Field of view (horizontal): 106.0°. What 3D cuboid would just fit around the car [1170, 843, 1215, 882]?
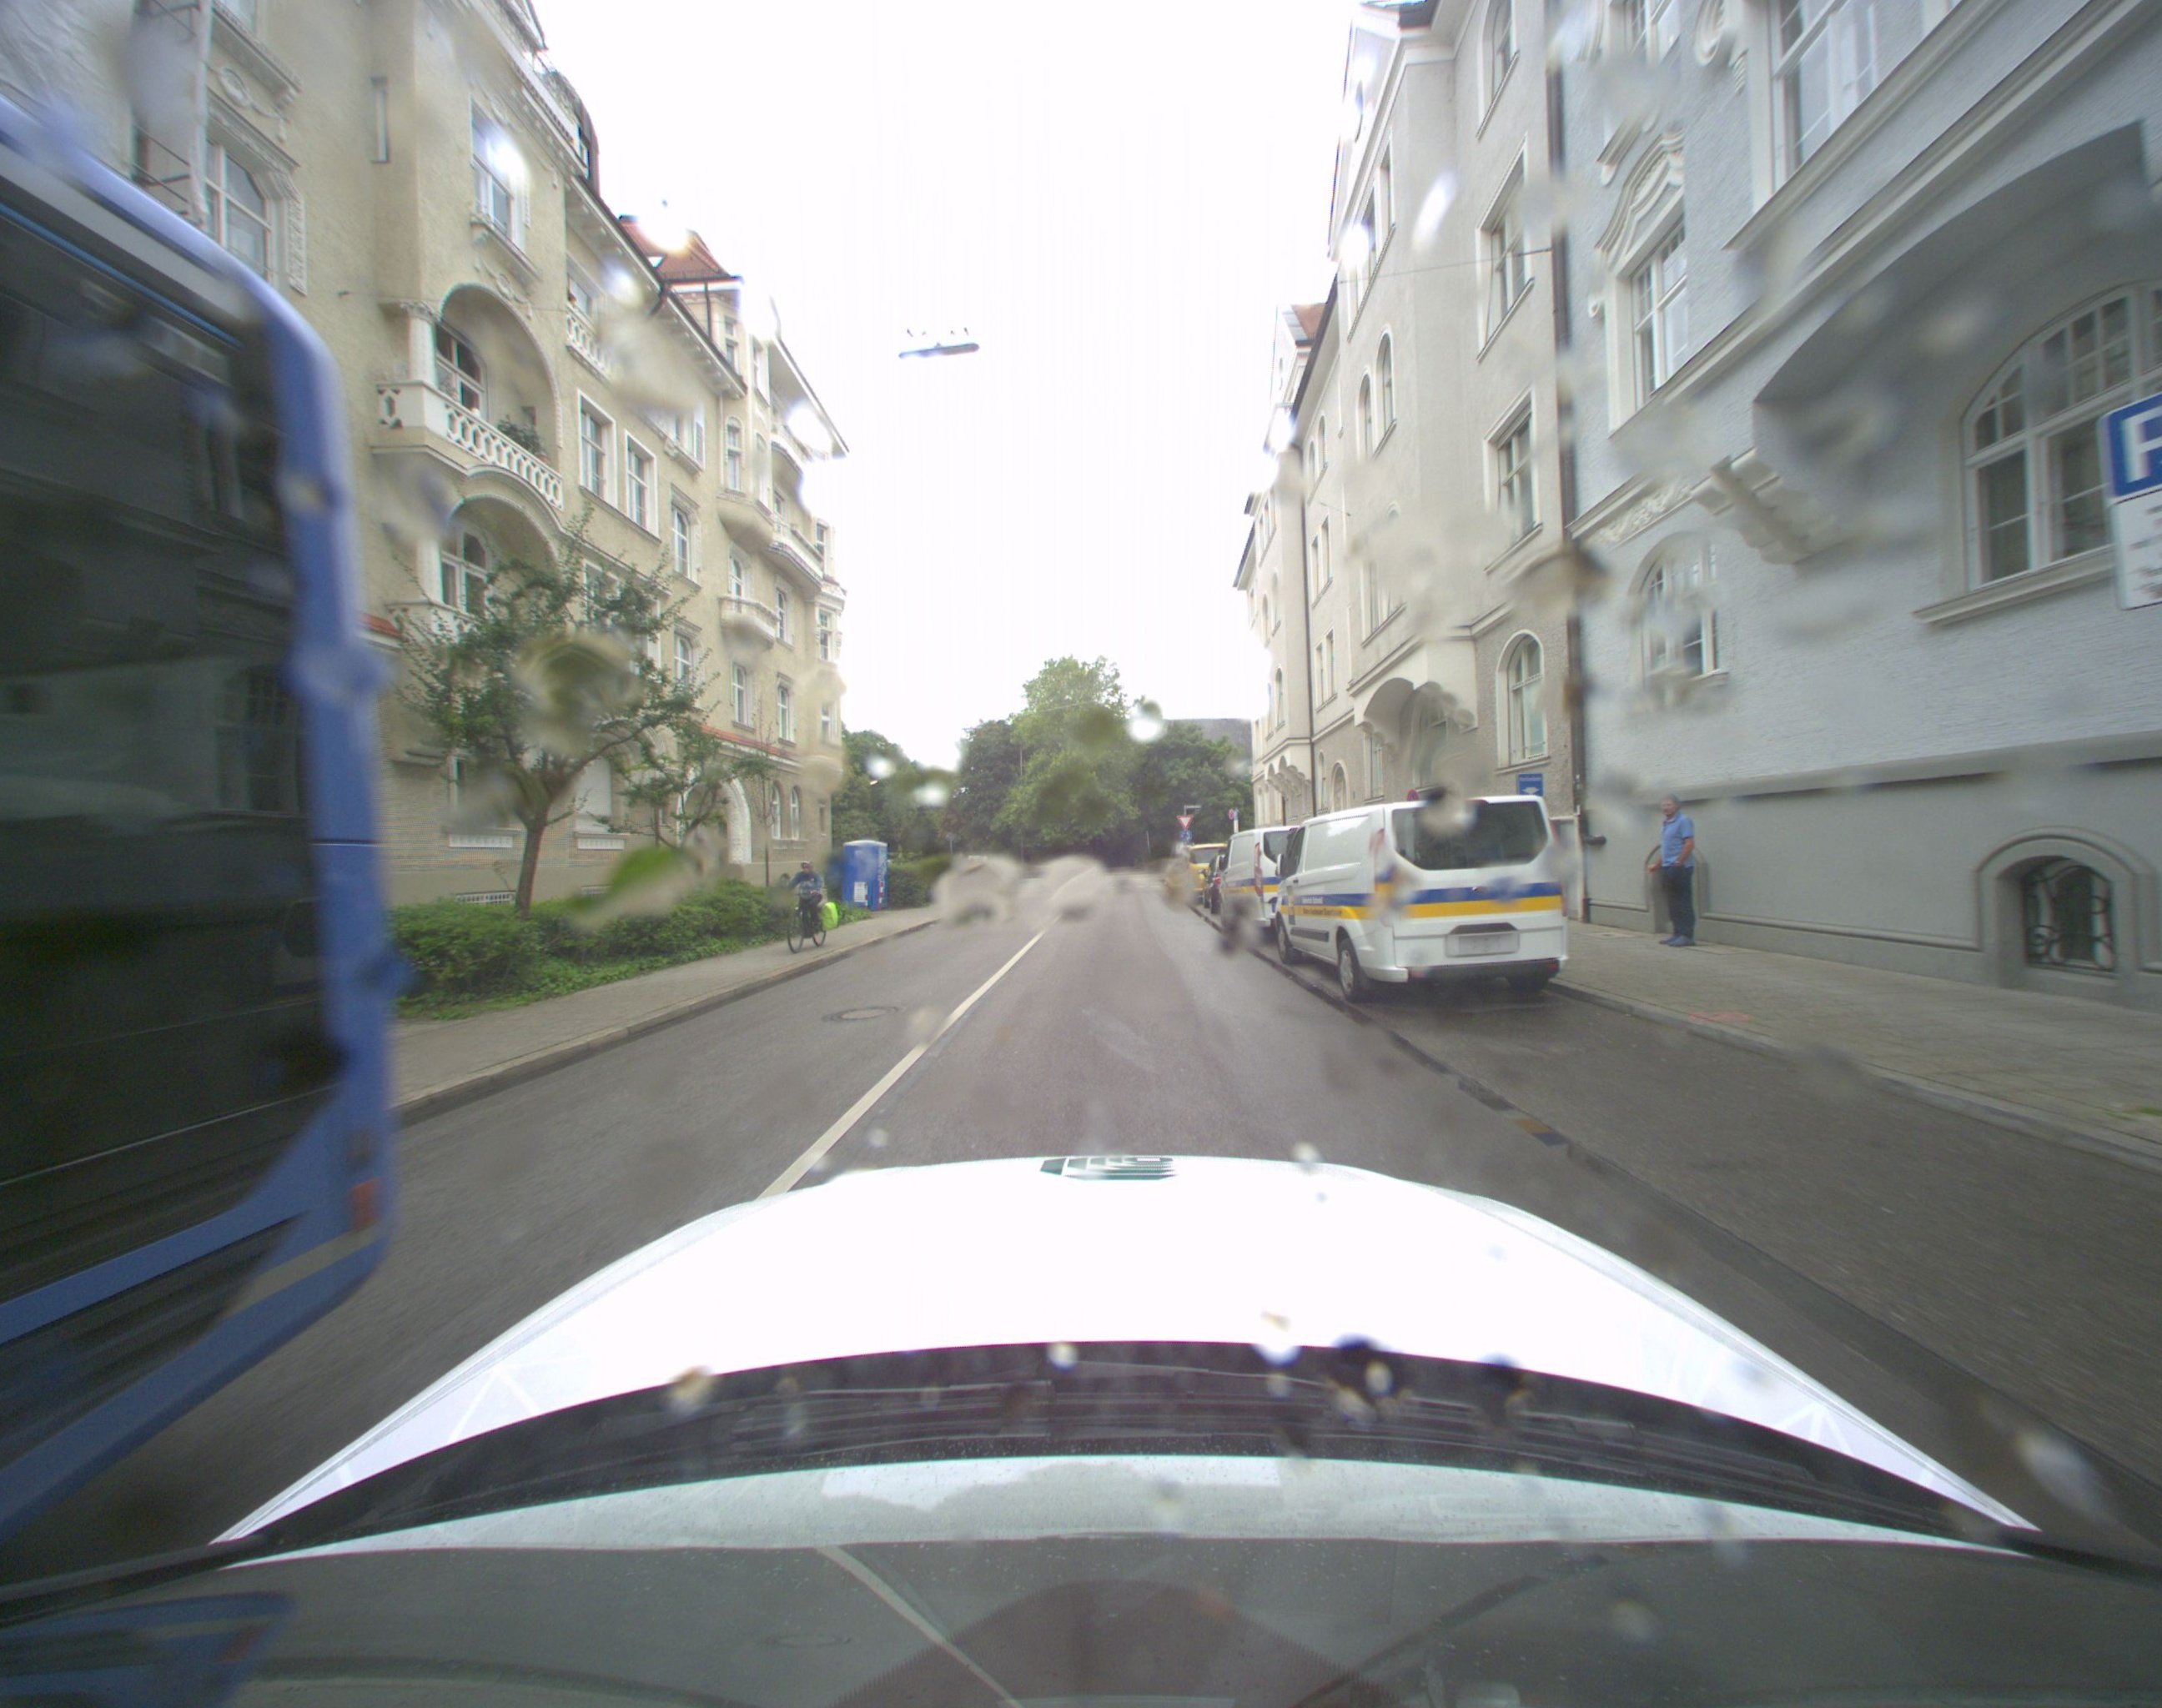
[{"bbox_3d":[6.100,0.429,45.241,1.930,1.922,5.378,-3,0,3],"label":"car"}]

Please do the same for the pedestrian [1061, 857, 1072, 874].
[{"bbox_3d":[-1.205,0.983,68.340,0.765,1.356,1.133,-2,0,5],"label":"pedestrian"}]

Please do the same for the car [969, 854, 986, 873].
[{"bbox_3d":[-14.523,1.373,114.235,1.990,2.558,5.422,-2,0,-4],"label":"car"}]

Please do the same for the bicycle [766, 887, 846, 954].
[{"bbox_3d":[-5.082,1.204,15.191,0.765,1.081,2.050,0,0,1],"label":"bicycle"}]

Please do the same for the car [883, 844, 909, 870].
[{"bbox_3d":[-22.823,0.360,100.456,2.169,3.002,6.221,-2,0,-5],"label":"car"}]

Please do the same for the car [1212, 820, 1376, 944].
[{"bbox_3d":[3.833,0.463,15.598,1.986,1.918,4.889,-2,0,2],"label":"car"}]

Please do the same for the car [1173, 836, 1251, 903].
[{"bbox_3d":[4.190,0.479,26.777,1.985,1.918,4.574,-2,0,3],"label":"car"}]

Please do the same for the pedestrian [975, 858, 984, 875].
[{"bbox_3d":[-10.144,1.294,81.670,0.636,1.667,0.691,-2,-1,-27],"label":"pedestrian"}]

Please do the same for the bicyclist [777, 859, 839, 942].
[{"bbox_3d":[-5.077,0.846,15.213,0.765,1.492,1.060,0,0,1],"label":"bicyclist"}]

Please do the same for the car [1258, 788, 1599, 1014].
[{"bbox_3d":[3.608,0.427,9.659,1.986,1.918,4.879,-2,0,1],"label":"car"}]

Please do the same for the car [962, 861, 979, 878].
[{"bbox_3d":[-13.336,1.900,98.420,1.909,1.937,4.957,-2,-1,-7],"label":"car"}]

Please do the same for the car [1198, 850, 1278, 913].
[{"bbox_3d":[4.151,0.677,22.017,1.626,1.514,3.889,-2,0,4],"label":"car"}]

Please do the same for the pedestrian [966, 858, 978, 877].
[{"bbox_3d":[-10.975,1.327,81.823,0.825,1.836,0.942,-2,-1,-32],"label":"pedestrian"}]

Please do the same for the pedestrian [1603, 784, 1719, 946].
[{"bbox_3d":[7.162,0.137,10.104,0.847,1.903,0.747,-2,-1,6],"label":"pedestrian"}]
